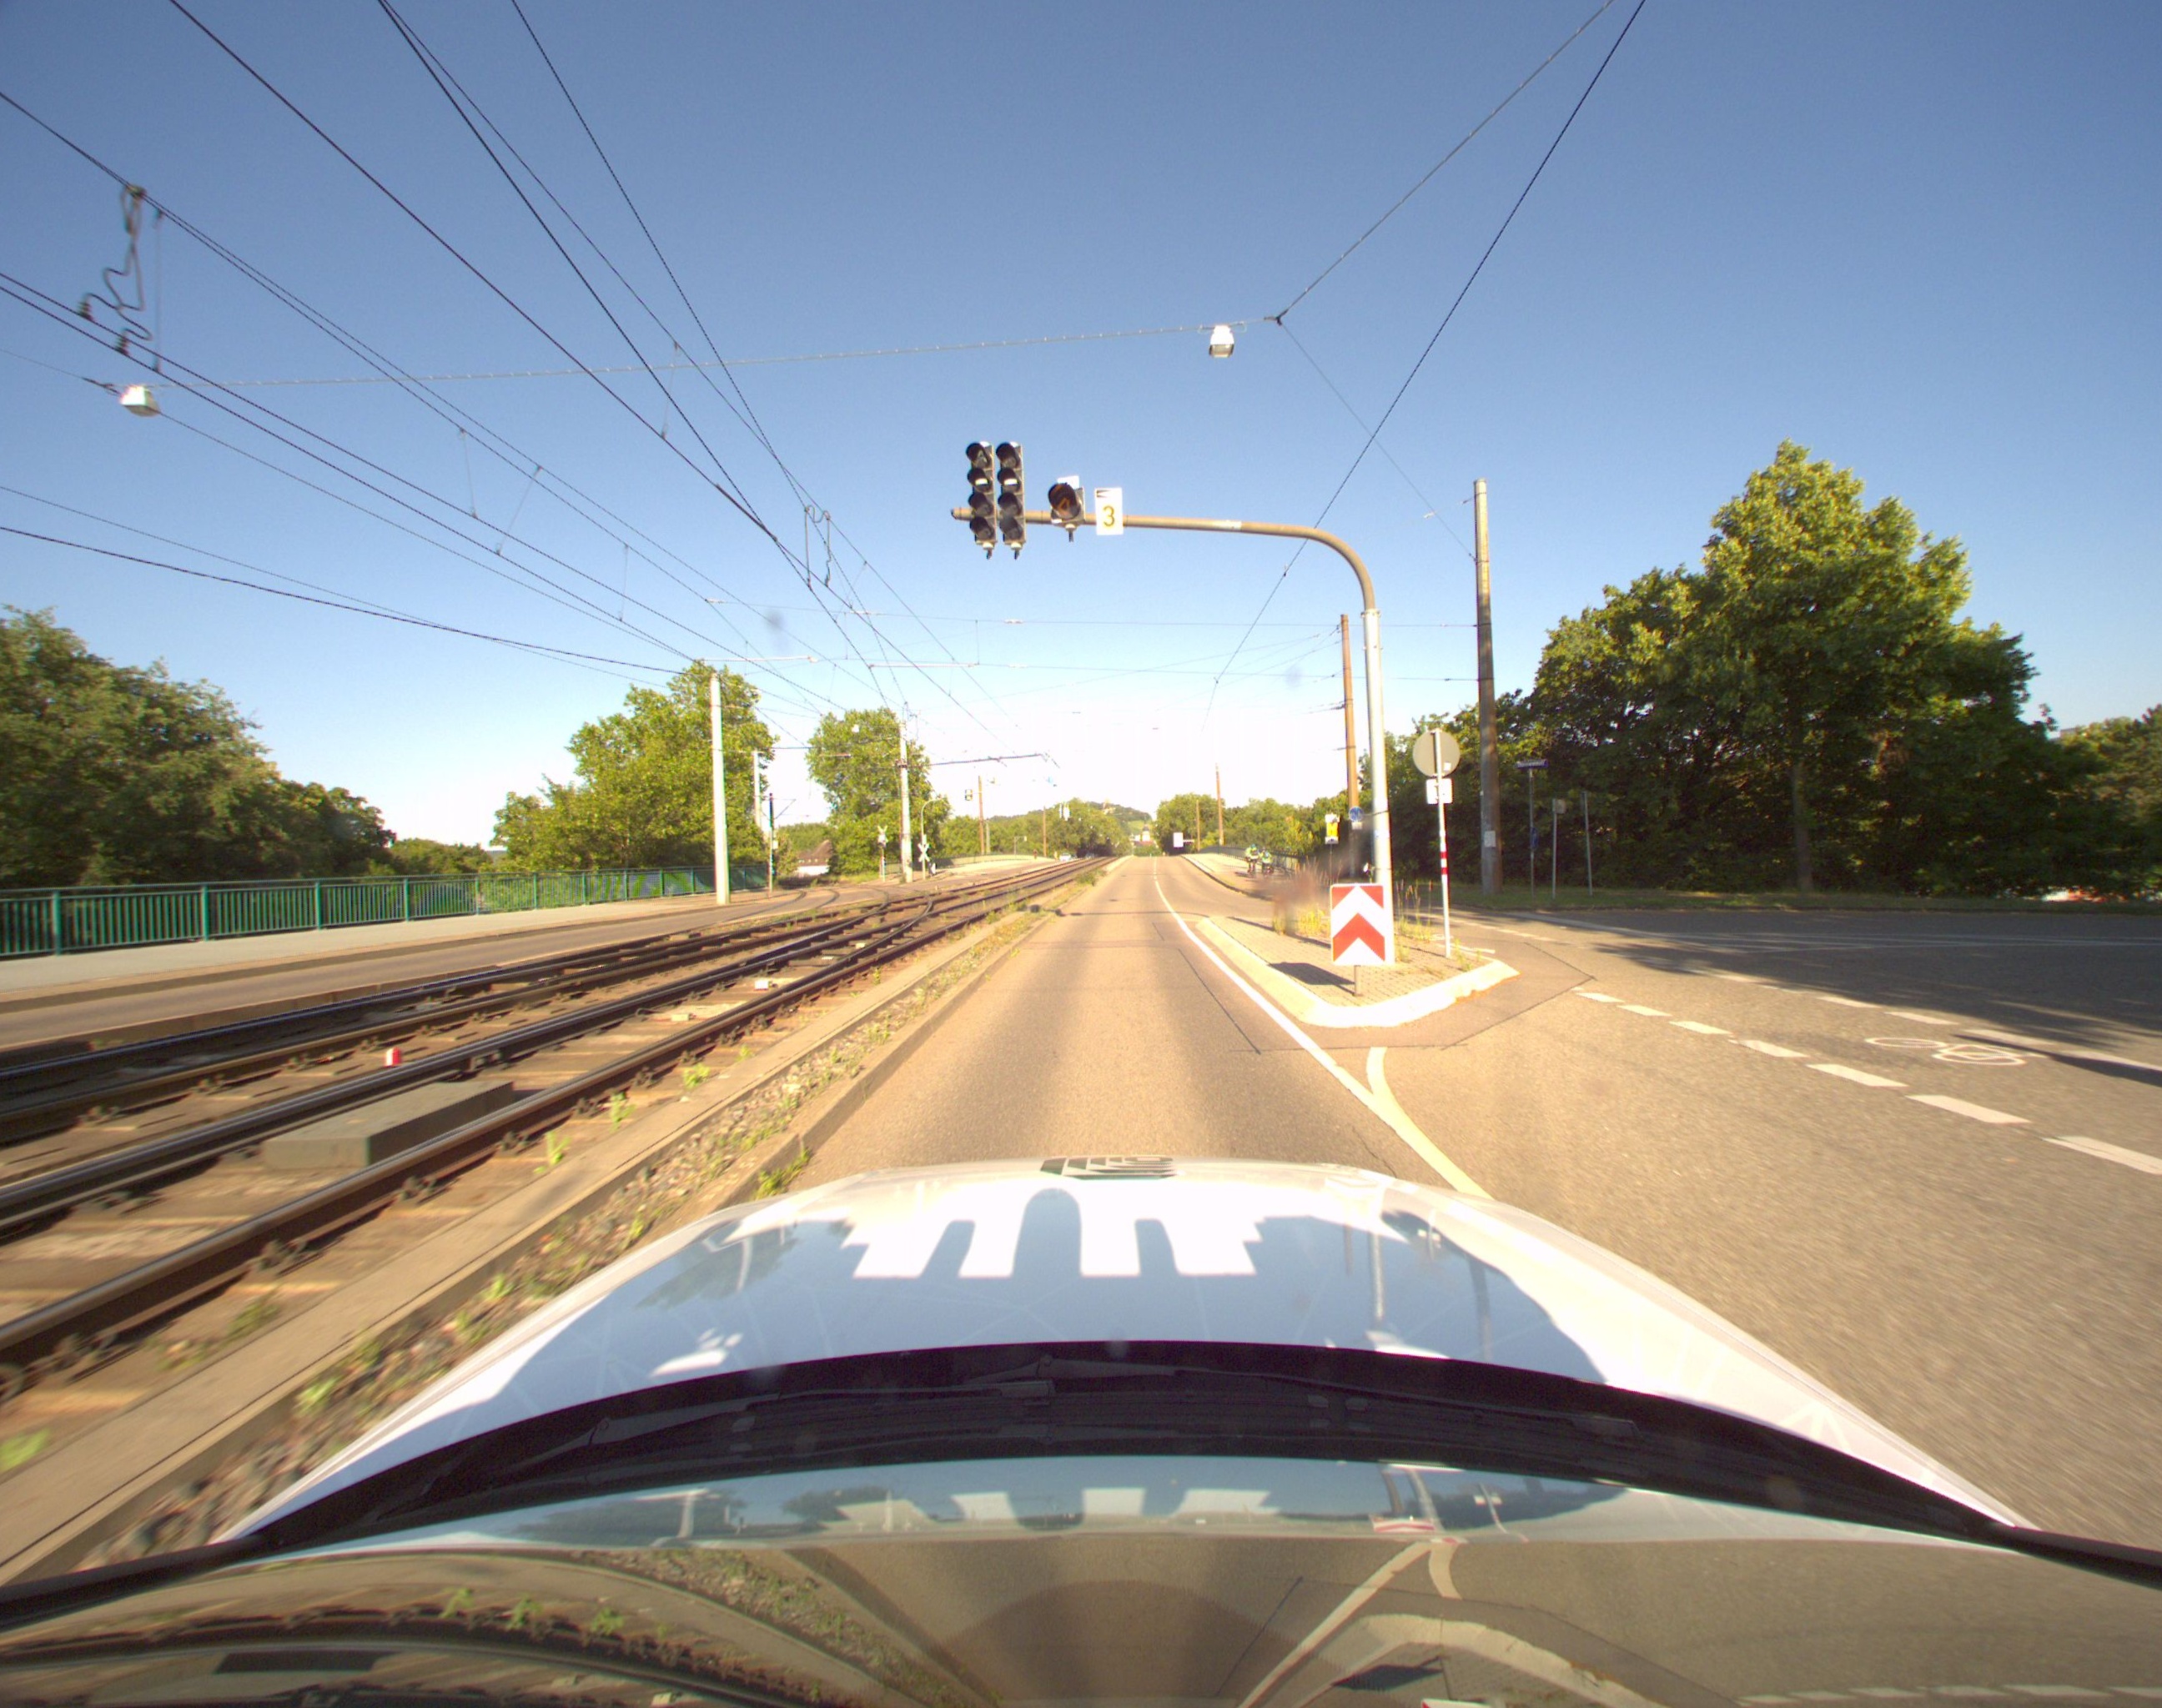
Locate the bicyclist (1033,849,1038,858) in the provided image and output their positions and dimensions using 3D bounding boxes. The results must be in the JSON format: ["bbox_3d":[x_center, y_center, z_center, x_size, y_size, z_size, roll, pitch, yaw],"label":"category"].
[{"bbox_3d":[-7.222,-0.069,130.295,0.622,1.432,0.970,-2,-1,5],"label":"bicyclist"}]

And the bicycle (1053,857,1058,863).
[{"bbox_3d":[-4.806,1.092,153.929,0.621,1.122,2.265,-2,0,9],"label":"bicycle"}]

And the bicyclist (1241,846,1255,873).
[{"bbox_3d":[9.279,0.302,45.284,0.622,1.508,1.007,-2,0,4],"label":"bicyclist"}]

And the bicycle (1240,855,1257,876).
[{"bbox_3d":[9.277,0.618,45.242,0.622,1.122,2.262,-2,0,4],"label":"bicycle"}]

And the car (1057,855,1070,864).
[{"bbox_3d":[-3.085,0.949,143.574,1.676,1.356,4.927,-2,0,5],"label":"car"}]

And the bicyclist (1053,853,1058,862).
[{"bbox_3d":[-4.827,0.611,153.869,0.621,1.633,0.938,-2,-1,9],"label":"bicyclist"}]

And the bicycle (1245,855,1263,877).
[{"bbox_3d":[8.944,0.613,42.127,0.622,1.122,2.045,-2,0,5],"label":"bicycle"}]

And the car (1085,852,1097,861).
[{"bbox_3d":[1.883,0.452,154.189,1.840,1.502,4.225,-2,0,5],"label":"car"}]

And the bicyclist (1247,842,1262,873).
[{"bbox_3d":[8.971,0.190,42.142,0.622,1.592,0.932,-2,-1,5],"label":"bicyclist"}]

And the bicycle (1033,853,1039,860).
[{"bbox_3d":[-7.213,0.418,130.252,0.622,1.122,2.263,-2,0,5],"label":"bicycle"}]

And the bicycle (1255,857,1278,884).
[{"bbox_3d":[8.301,0.716,36.492,0.680,1.122,2.219,-2,1,5],"label":"bicycle"}]

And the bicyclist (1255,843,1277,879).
[{"bbox_3d":[8.278,0.287,36.469,0.808,1.562,0.898,-2,1,5],"label":"bicyclist"}]
